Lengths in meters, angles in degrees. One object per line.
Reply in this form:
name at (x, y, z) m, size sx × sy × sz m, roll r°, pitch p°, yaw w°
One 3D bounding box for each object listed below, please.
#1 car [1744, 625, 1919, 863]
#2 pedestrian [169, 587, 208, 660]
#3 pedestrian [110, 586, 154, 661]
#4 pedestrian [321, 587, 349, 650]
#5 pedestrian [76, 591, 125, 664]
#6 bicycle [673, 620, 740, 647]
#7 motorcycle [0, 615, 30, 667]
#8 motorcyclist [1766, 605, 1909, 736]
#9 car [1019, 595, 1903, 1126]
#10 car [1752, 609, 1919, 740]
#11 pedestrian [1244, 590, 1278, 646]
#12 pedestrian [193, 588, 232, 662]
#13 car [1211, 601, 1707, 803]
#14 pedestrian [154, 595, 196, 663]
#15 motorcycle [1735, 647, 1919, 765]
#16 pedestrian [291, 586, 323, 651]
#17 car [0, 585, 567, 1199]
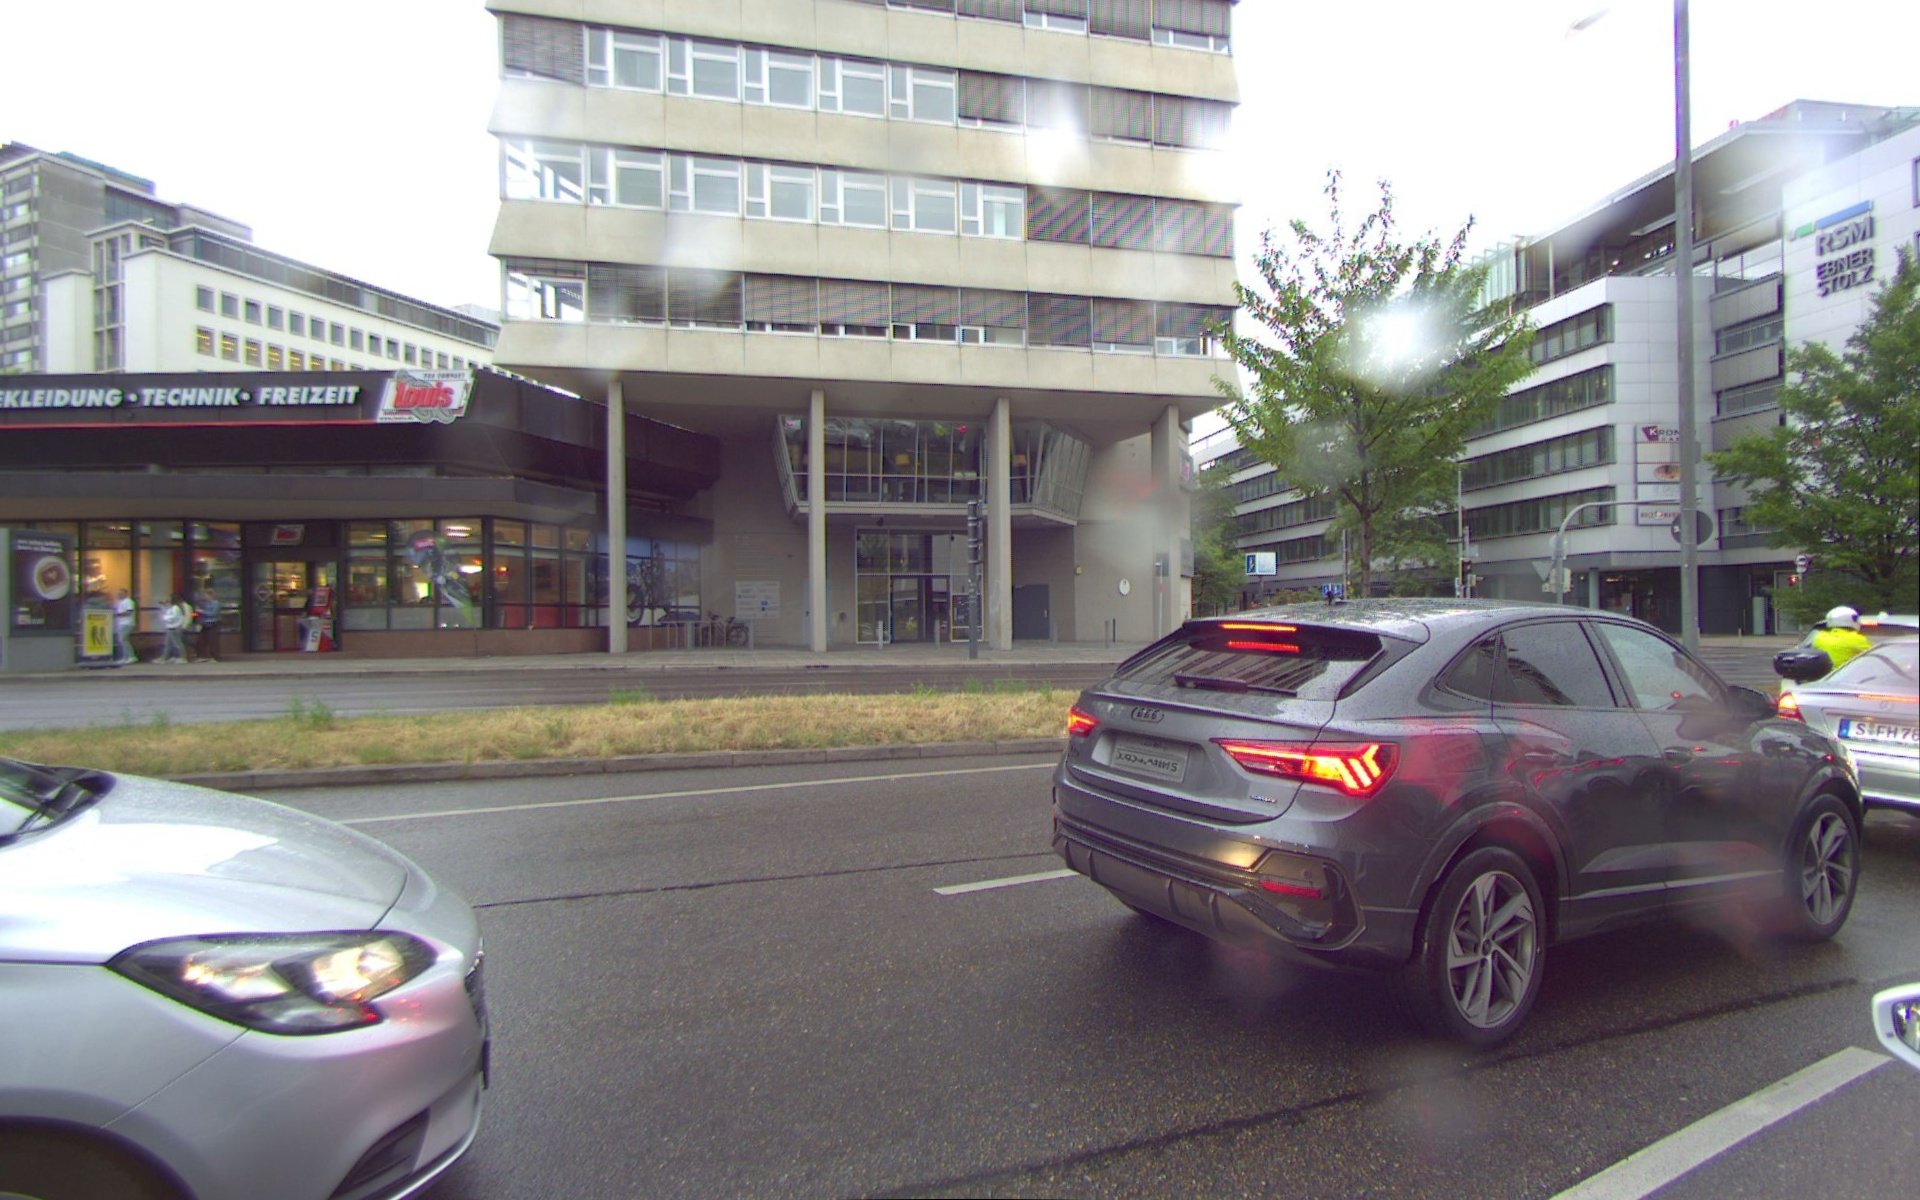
car at (7.685, 0.953, 7.105) m, size 4.050 × 1.426 × 1.567 m, roll 2°, pitch 0°, yaw -22°
pedestrian at (-18.910, 0.577, 24.621) m, size 0.548 × 1.767 × 0.541 m, roll 1°, pitch 0°, yaw -9°
pedestrian at (-19.698, 0.549, 23.912) m, size 0.548 × 1.767 × 0.614 m, roll 1°, pitch 0°, yaw -9°
pedestrian at (-17.559, 0.509, 28.209) m, size 0.436 × 1.741 × 0.509 m, roll 1°, pitch 0°, yaw 3°
pedestrian at (-19.611, 0.620, 22.938) m, size 0.601 × 1.633 × 0.614 m, roll 1°, pitch 0°, yaw -9°
bicycle at (-8.557, 1.131, 33.943) m, size 2.165 × 0.871 × 0.456 m, roll 2°, pitch 0°, yaw -31°
motorcycle at (-23.519, 0.985, 24.190) m, size 0.353 × 1.249 × 1.669 m, roll 1°, pitch 0°, yaw 20°
motorcyclist at (9.879, 0.770, 11.327) m, size 1.102 × 1.398 × 0.769 m, roll 2°, pitch 0°, yaw -21°
car at (2.492, 0.786, 4.698) m, size 4.220 × 1.542 × 1.640 m, roll 1°, pitch 0°, yaw -30°
car at (12.644, 0.931, 13.211) m, size 3.940 × 1.506 × 1.704 m, roll 2°, pitch 0°, yaw -21°
pedestrian at (9.260, 0.551, 30.886) m, size 0.751 × 1.706 × 0.677 m, roll 1°, pitch 0°, yaw -16°
pedestrian at (-18.101, 0.600, 24.332) m, size 0.548 × 1.767 × 0.541 m, roll 1°, pitch 0°, yaw -9°
car at (4.897, 0.833, 9.743) m, size 4.715 × 1.554 × 1.858 m, roll 1°, pitch 0°, yaw -27°
pedestrian at (-18.441, 0.674, 23.604) m, size 0.548 × 1.591 × 0.541 m, roll 1°, pitch 0°, yaw -9°
motorcycle at (9.823, 1.164, 11.308) m, size 1.998 × 1.200 × 0.799 m, roll 2°, pitch 0°, yaw -21°
pedestrian at (-17.674, 0.500, 27.187) m, size 0.488 × 1.741 × 0.525 m, roll 1°, pitch 0°, yaw 3°
car at (-2.839, 0.682, 1.699) m, size 3.831 × 1.455 × 1.639 m, roll 1°, pitch 0°, yaw -32°
